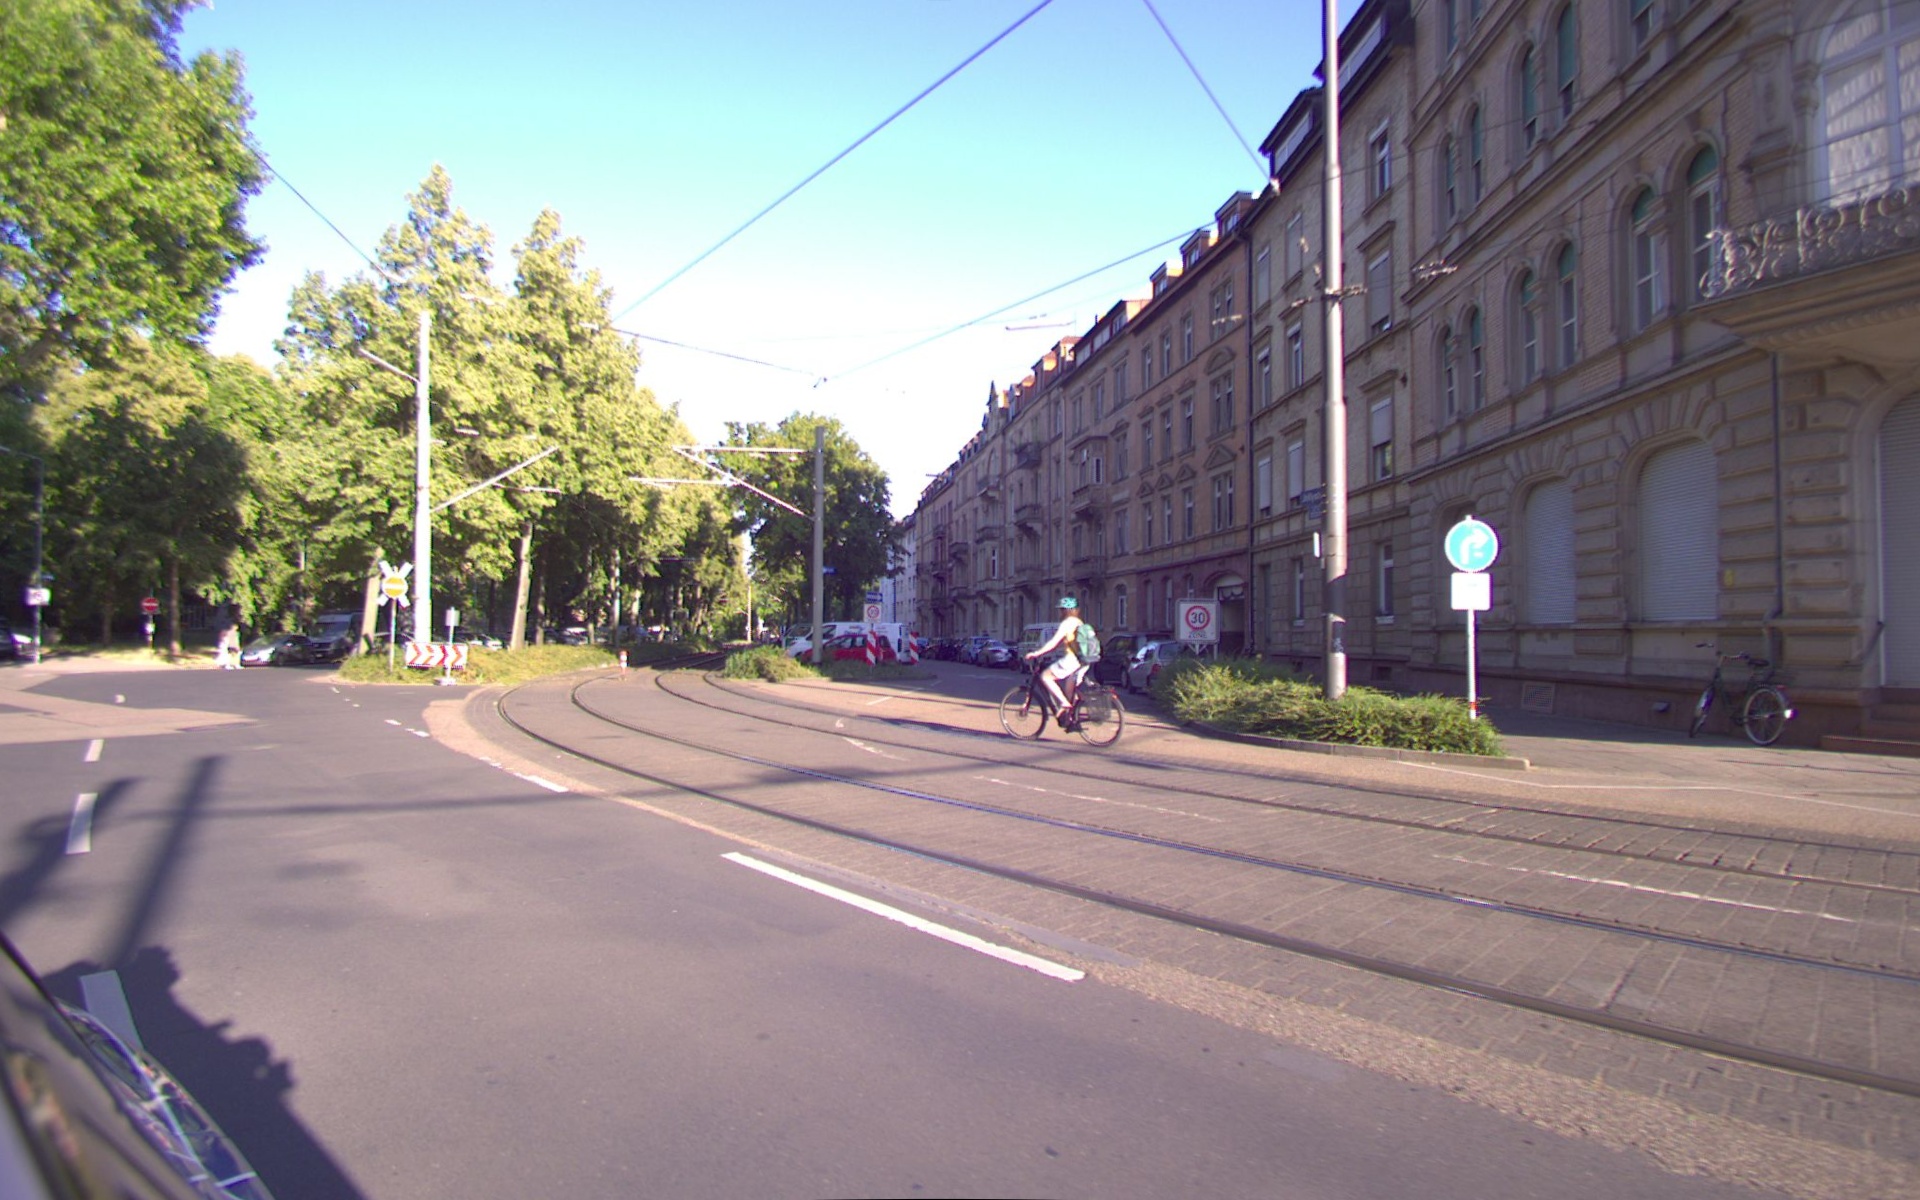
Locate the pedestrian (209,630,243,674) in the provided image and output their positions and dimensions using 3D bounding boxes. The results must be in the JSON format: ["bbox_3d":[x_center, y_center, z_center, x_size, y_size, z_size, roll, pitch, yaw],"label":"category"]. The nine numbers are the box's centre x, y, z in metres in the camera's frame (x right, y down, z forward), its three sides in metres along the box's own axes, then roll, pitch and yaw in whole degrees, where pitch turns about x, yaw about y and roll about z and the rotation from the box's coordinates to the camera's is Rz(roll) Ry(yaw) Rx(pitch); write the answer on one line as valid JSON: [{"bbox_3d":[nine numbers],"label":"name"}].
[{"bbox_3d":[-29.994,2.126,41.360,0.802,1.795,0.717,1,-3,-3],"label":"pedestrian"}]

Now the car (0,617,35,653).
[{"bbox_3d":[-49.083,1.818,50.281,1.731,1.720,4.347,-2,0,37],"label":"car"}]

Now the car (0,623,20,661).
[{"bbox_3d":[-41.804,1.805,43.234,4.270,1.563,1.720,-1,0,38],"label":"car"}]

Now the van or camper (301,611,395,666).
[{"bbox_3d":[-32.231,2.043,53.528,2.058,2.783,5.854,0,-2,-8],"label":"van or camper"}]

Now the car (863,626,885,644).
[{"bbox_3d":[-9.504,3.842,111.360,1.967,2.029,4.009,0,-2,-11],"label":"car"}]

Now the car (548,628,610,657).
[{"bbox_3d":[-26.630,2.970,70.714,4.142,1.795,1.865,-4,-2,29],"label":"car"}]

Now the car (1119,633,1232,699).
[{"bbox_3d":[5.253,1.608,25.106,1.829,1.440,3.497,-2,-3,-3],"label":"car"}]

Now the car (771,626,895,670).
[{"bbox_3d":[-5.354,1.999,42.689,4.799,1.778,2.071,0,-3,20],"label":"car"}]

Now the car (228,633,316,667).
[{"bbox_3d":[-31.401,2.268,46.292,1.660,1.457,3.875,-2,-2,-5],"label":"car"}]

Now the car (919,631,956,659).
[{"bbox_3d":[-1.525,2.959,66.975,1.770,1.789,4.009,1,-2,-11],"label":"car"}]

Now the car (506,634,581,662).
[{"bbox_3d":[-25.514,2.941,62.014,4.129,1.470,1.759,-3,-2,20],"label":"car"}]

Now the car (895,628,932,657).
[{"bbox_3d":[-3.443,3.089,74.083,1.967,2.029,4.010,1,-2,-13],"label":"car"}]

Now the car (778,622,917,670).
[{"bbox_3d":[-4.346,1.786,39.465,5.009,1.778,2.076,0,-3,14],"label":"car"}]

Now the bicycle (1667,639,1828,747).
[{"bbox_3d":[9.643,1.095,12.480,0.496,1.215,1.791,-3,-2,0],"label":"bicycle"}]

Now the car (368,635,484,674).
[{"bbox_3d":[-21.945,2.221,41.657,3.938,1.375,1.770,-3,-2,8],"label":"car"}]

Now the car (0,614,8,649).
[{"bbox_3d":[-51.524,1.688,51.436,1.783,1.790,4.347,-2,0,37],"label":"car"}]

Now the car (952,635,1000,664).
[{"bbox_3d":[0.838,2.693,55.205,1.826,1.530,4.068,1,-2,-11],"label":"car"}]

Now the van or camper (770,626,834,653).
[{"bbox_3d":[-14.763,3.693,94.741,5.508,2.389,2.293,0,-3,19],"label":"van or camper"}]

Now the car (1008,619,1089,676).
[{"bbox_3d":[3.467,1.939,40.724,1.827,2.079,5.010,-2,-3,-11],"label":"car"}]

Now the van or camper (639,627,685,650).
[{"bbox_3d":[-35.075,4.515,119.001,4.846,2.489,2.033,-3,-2,18],"label":"van or camper"}]

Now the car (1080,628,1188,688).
[{"bbox_3d":[5.067,1.710,30.008,1.826,1.575,3.880,-2,-3,-11],"label":"car"}]

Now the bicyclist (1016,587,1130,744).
[{"bbox_3d":[1.454,0.812,13.005,1.110,1.905,1.020,-1,-3,34],"label":"bicyclist"}]

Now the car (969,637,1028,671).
[{"bbox_3d":[1.797,2.583,49.228,1.826,1.553,4.782,1,-2,-11],"label":"car"}]

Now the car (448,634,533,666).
[{"bbox_3d":[-24.524,2.618,52.884,3.839,1.450,1.821,-3,-2,17],"label":"car"}]

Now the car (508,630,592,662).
[{"bbox_3d":[-26.231,2.932,64.766,4.964,1.795,1.974,-3,-2,20],"label":"car"}]

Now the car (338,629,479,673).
[{"bbox_3d":[-19.687,1.801,36.198,4.245,1.440,1.770,-2,-2,9],"label":"car"}]

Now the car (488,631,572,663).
[{"bbox_3d":[-25.081,2.759,59.049,4.325,1.639,1.928,-3,-2,20],"label":"car"}]

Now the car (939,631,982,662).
[{"bbox_3d":[-0.026,2.721,59.647,1.770,1.789,4.009,1,-2,-11],"label":"car"}]

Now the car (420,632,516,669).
[{"bbox_3d":[-22.862,2.332,47.057,3.853,1.505,1.821,-3,-2,19],"label":"car"}]

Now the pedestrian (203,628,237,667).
[{"bbox_3d":[-30.842,1.993,42.181,0.802,1.620,0.717,1,-5,-3],"label":"pedestrian"}]

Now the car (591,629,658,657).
[{"bbox_3d":[-29.474,3.757,88.889,5.475,2.153,2.066,-3,-2,21],"label":"car"}]

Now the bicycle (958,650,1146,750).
[{"bbox_3d":[1.164,1.247,13.128,2.319,1.165,0.874,-1,-3,35],"label":"bicycle"}]

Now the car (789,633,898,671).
[{"bbox_3d":[-4.243,1.889,37.078,3.599,1.339,1.708,0,-3,15],"label":"car"}]
